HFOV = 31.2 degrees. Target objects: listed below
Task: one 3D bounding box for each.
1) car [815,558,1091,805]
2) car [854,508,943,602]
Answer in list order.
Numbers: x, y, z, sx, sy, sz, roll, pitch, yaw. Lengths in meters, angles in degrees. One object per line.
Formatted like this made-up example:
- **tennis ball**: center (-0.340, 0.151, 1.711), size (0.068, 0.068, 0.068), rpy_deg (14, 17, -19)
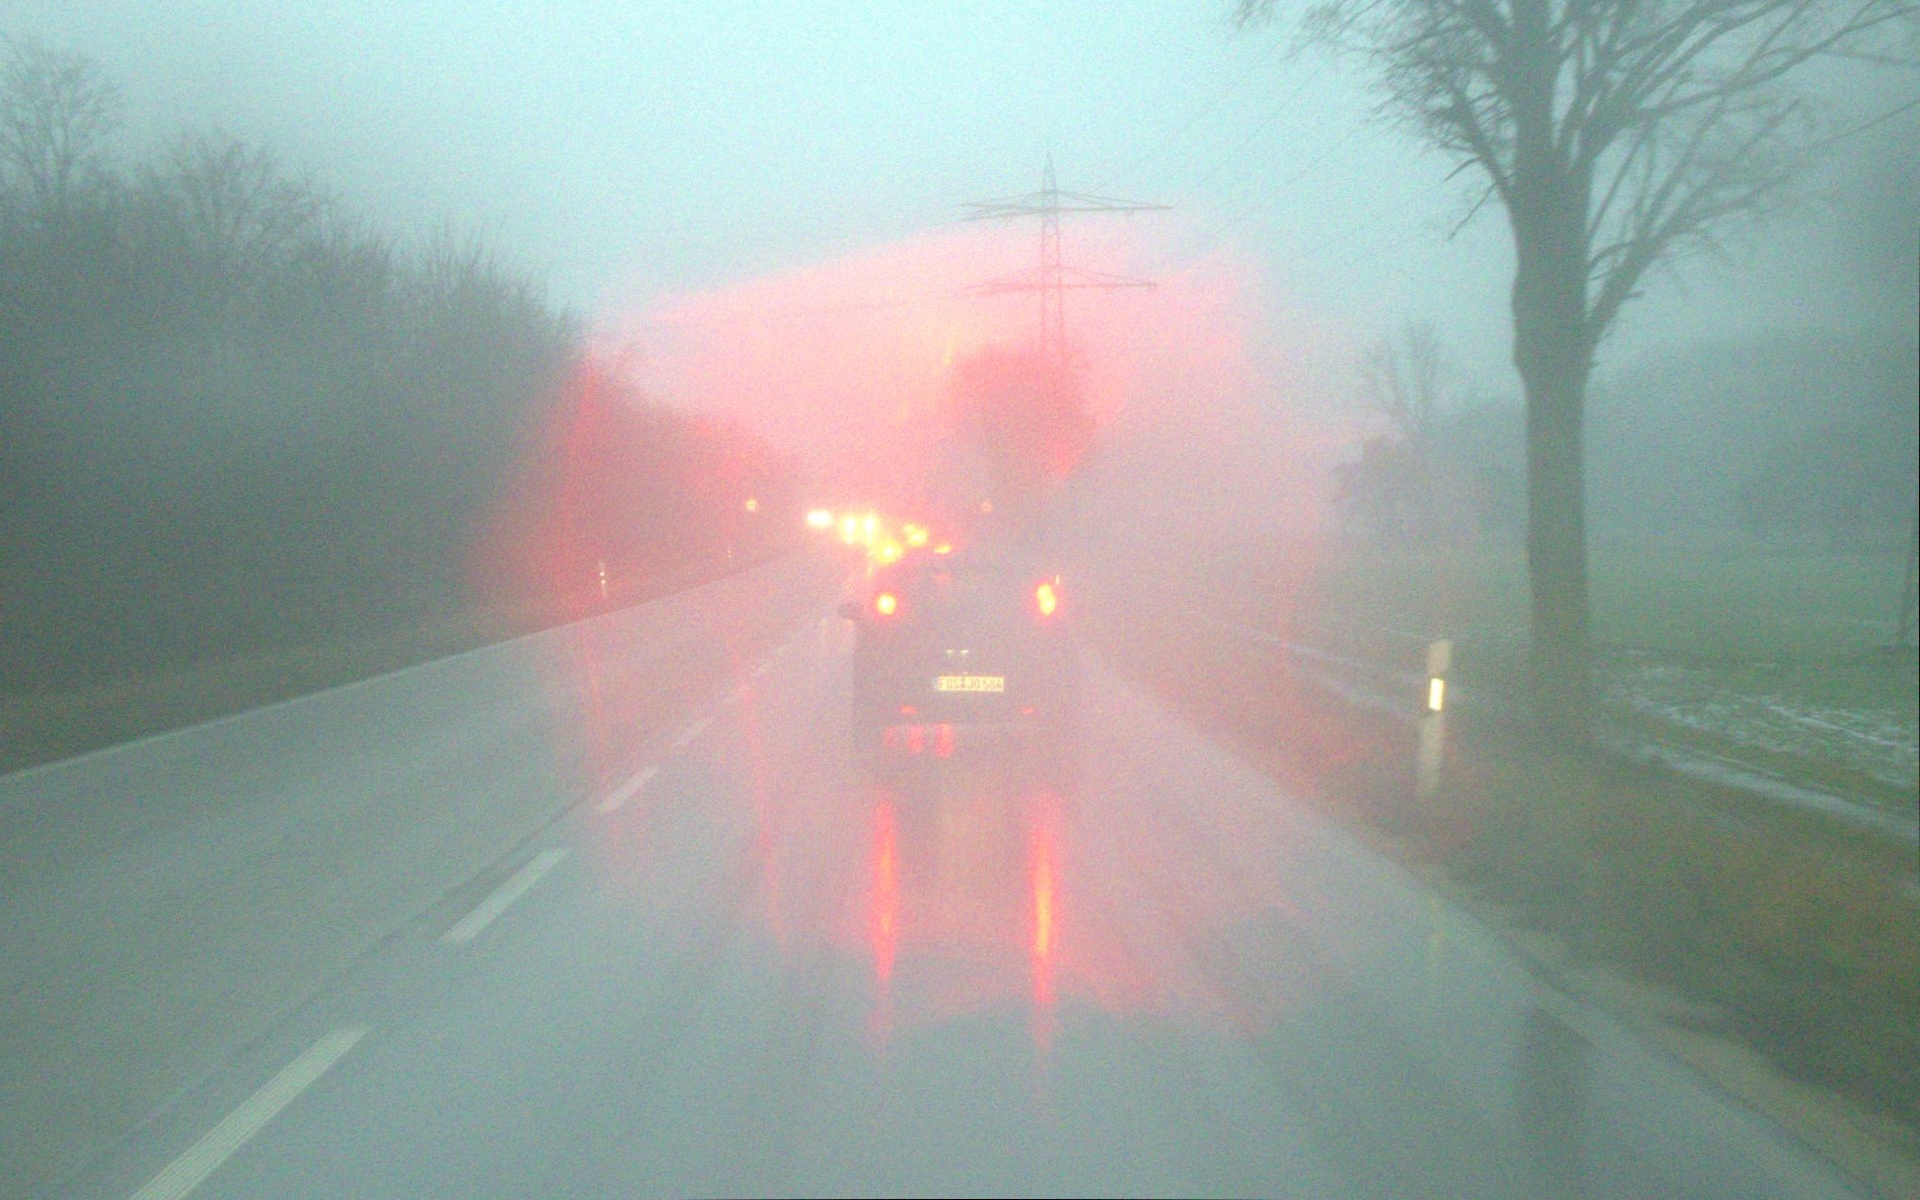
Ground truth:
- **car**: center (-0.080, 0.565, 26.906), size (1.993, 1.746, 4.000), rpy_deg (0, 1, -1)
- **car**: center (-1.429, -1.093, 81.423), size (1.993, 2.006, 4.001), rpy_deg (2, 3, 0)
